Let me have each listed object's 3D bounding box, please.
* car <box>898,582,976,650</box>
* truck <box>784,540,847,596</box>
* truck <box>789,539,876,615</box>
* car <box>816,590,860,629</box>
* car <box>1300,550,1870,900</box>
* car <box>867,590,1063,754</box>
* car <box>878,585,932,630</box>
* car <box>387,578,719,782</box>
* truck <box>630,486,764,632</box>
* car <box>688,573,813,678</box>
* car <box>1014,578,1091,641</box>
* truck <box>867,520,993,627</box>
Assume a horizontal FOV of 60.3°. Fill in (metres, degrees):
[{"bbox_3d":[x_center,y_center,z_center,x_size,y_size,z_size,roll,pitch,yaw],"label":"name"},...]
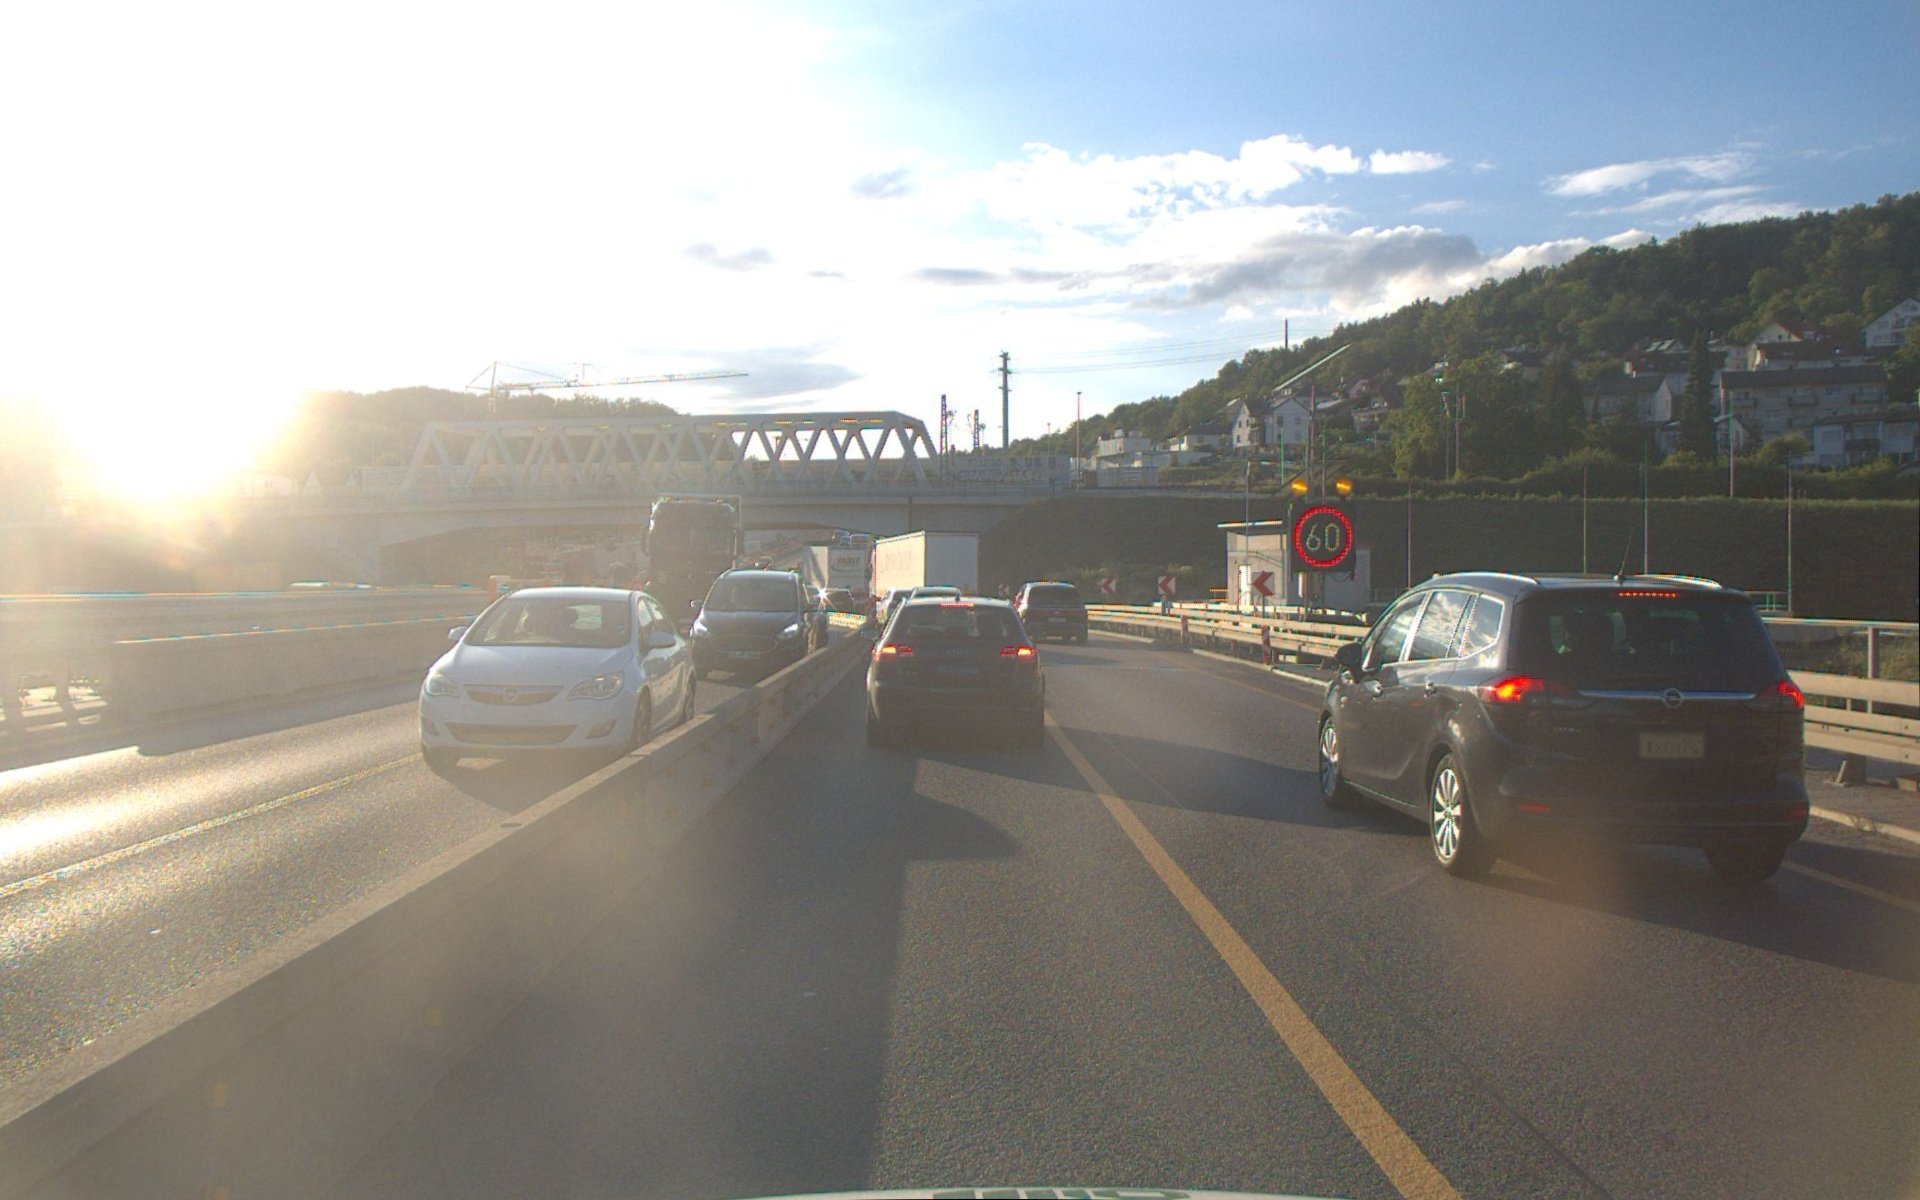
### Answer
[{"bbox_3d":[-0.597,0.352,39.913,1.730,1.512,3.998,2,0,-2],"label":"car"},{"bbox_3d":[-12.686,-2.854,143.885,3.822,4.576,13.809,1,1,-12],"label":"truck"},{"bbox_3d":[-8.571,-1.466,108.998,3.821,4.577,15.224,1,0,-11],"label":"truck"},{"bbox_3d":[-5.955,0.444,80.562,1.668,1.763,3.990,1,1,-11],"label":"car"},{"bbox_3d":[3.481,0.588,10.208,1.777,1.661,4.410,1,0,-1],"label":"car"},{"bbox_3d":[-0.015,0.640,16.947,1.734,1.414,3.999,2,0,-2],"label":"car"},{"bbox_3d":[-2.012,0.235,59.639,1.730,1.512,3.997,2,0,-4],"label":"car"},{"bbox_3d":[-3.396,0.587,14.697,1.884,1.523,4.367,1,0,-1],"label":"car"},{"bbox_3d":[-7.819,-1.181,50.491,2.872,3.958,10.258,1,1,-3],"label":"truck"},{"bbox_3d":[-3.385,0.373,27.380,1.756,1.566,4.364,1,0,-3],"label":"car"},{"bbox_3d":[2.503,0.234,45.618,1.734,1.579,3.999,2,0,-2],"label":"car"},{"bbox_3d":[-1.727,-1.222,80.072,3.325,4.577,15.224,1,0,-11],"label":"truck"}]
